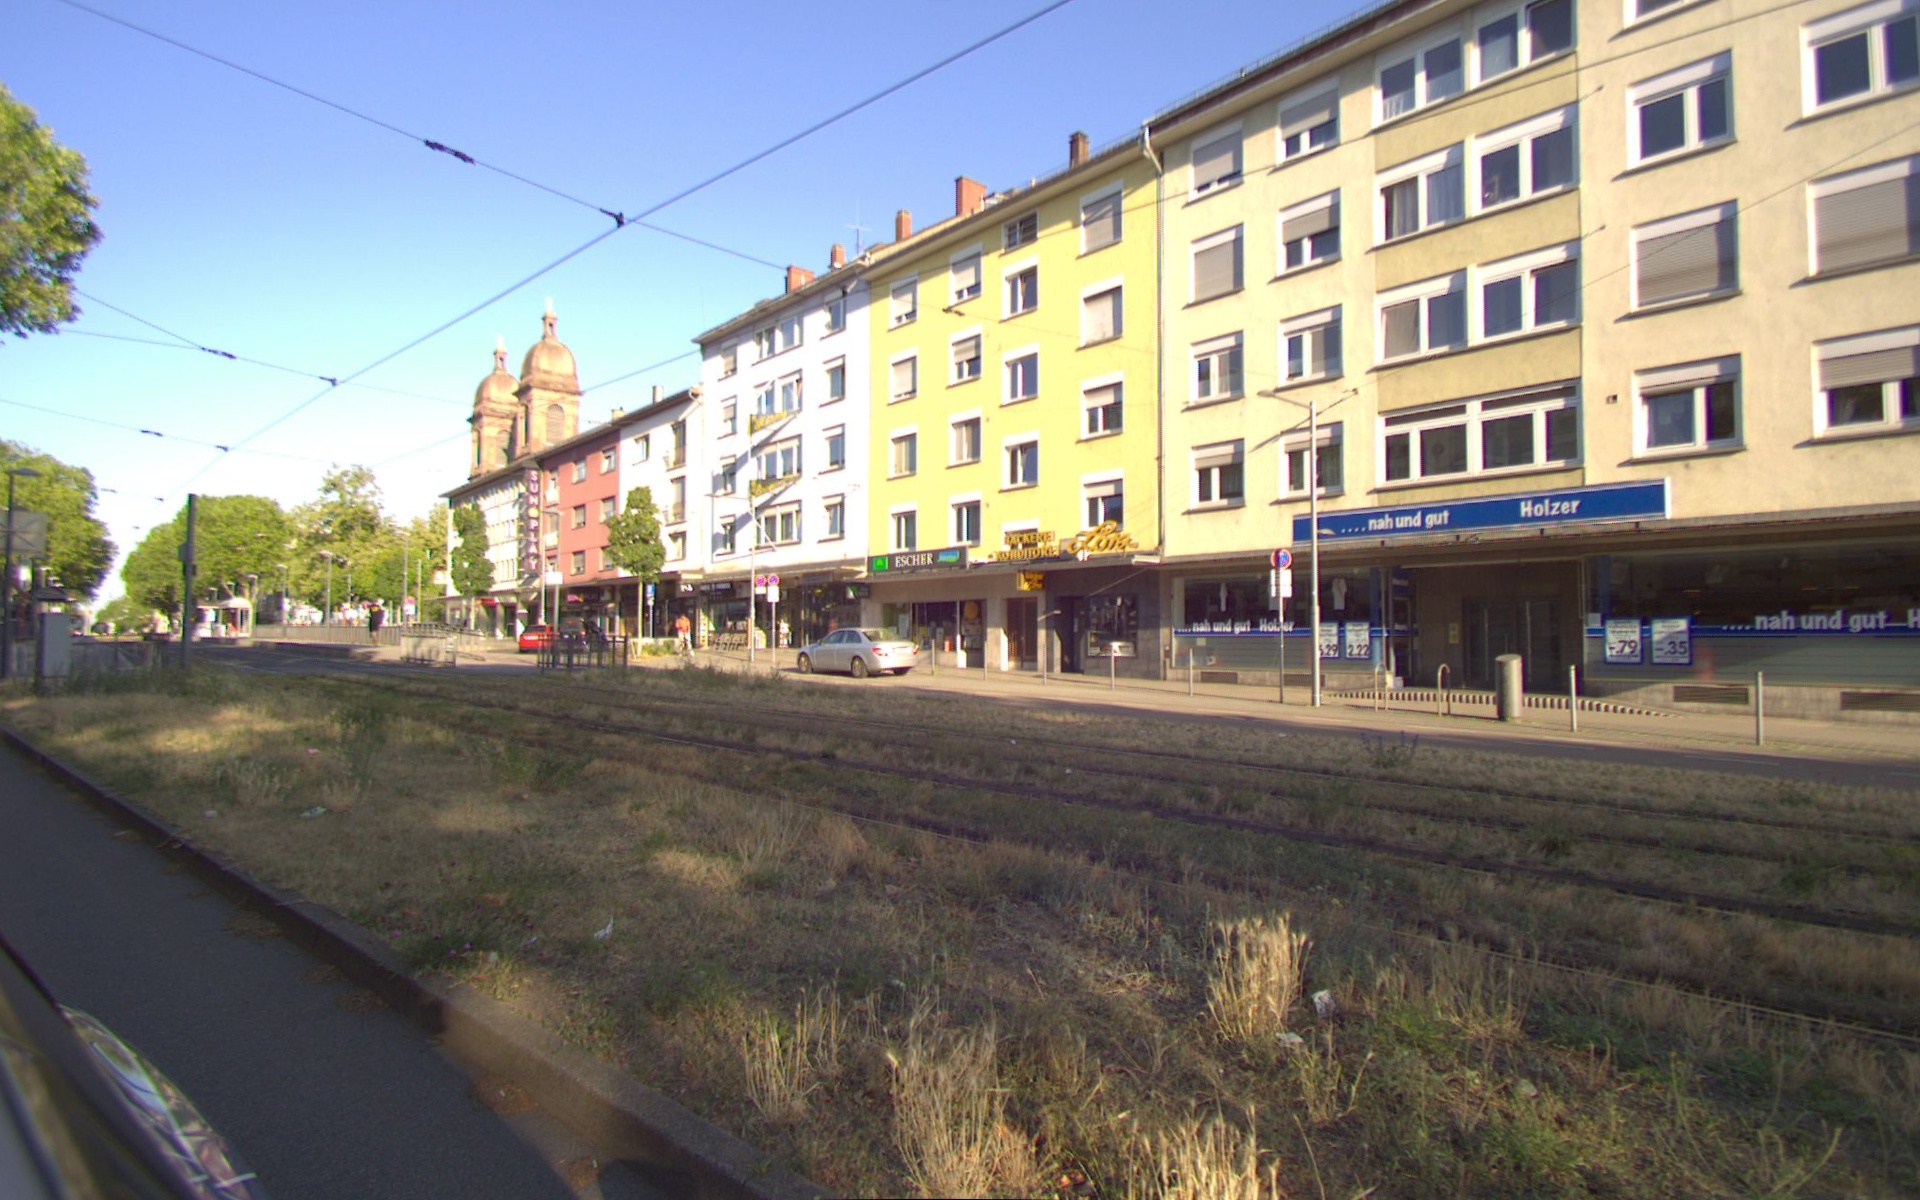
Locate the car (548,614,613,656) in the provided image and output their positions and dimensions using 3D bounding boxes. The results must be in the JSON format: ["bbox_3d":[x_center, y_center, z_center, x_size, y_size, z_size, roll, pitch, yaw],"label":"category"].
[{"bbox_3d":[-18.105,1.636,48.465,1.836,1.813,3.773,-1,0,-3],"label":"car"}]

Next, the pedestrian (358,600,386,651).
[{"bbox_3d":[-21.823,0.938,37.557,0.590,1.863,0.733,-2,-3,43],"label":"pedestrian"}]

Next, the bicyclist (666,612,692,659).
[{"bbox_3d":[-11.693,1.466,42.078,0.683,1.900,1.061,-3,2,-32],"label":"bicyclist"}]

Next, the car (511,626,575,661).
[{"bbox_3d":[-20.611,2.134,50.168,1.836,1.502,3.773,-1,0,-3],"label":"car"}]

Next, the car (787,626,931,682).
[{"bbox_3d":[-3.080,1.546,30.279,1.970,1.489,4.414,-1,0,-44],"label":"car"}]

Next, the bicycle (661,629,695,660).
[{"bbox_3d":[-11.791,1.843,42.273,0.696,1.167,2.204,-3,2,-33],"label":"bicycle"}]
